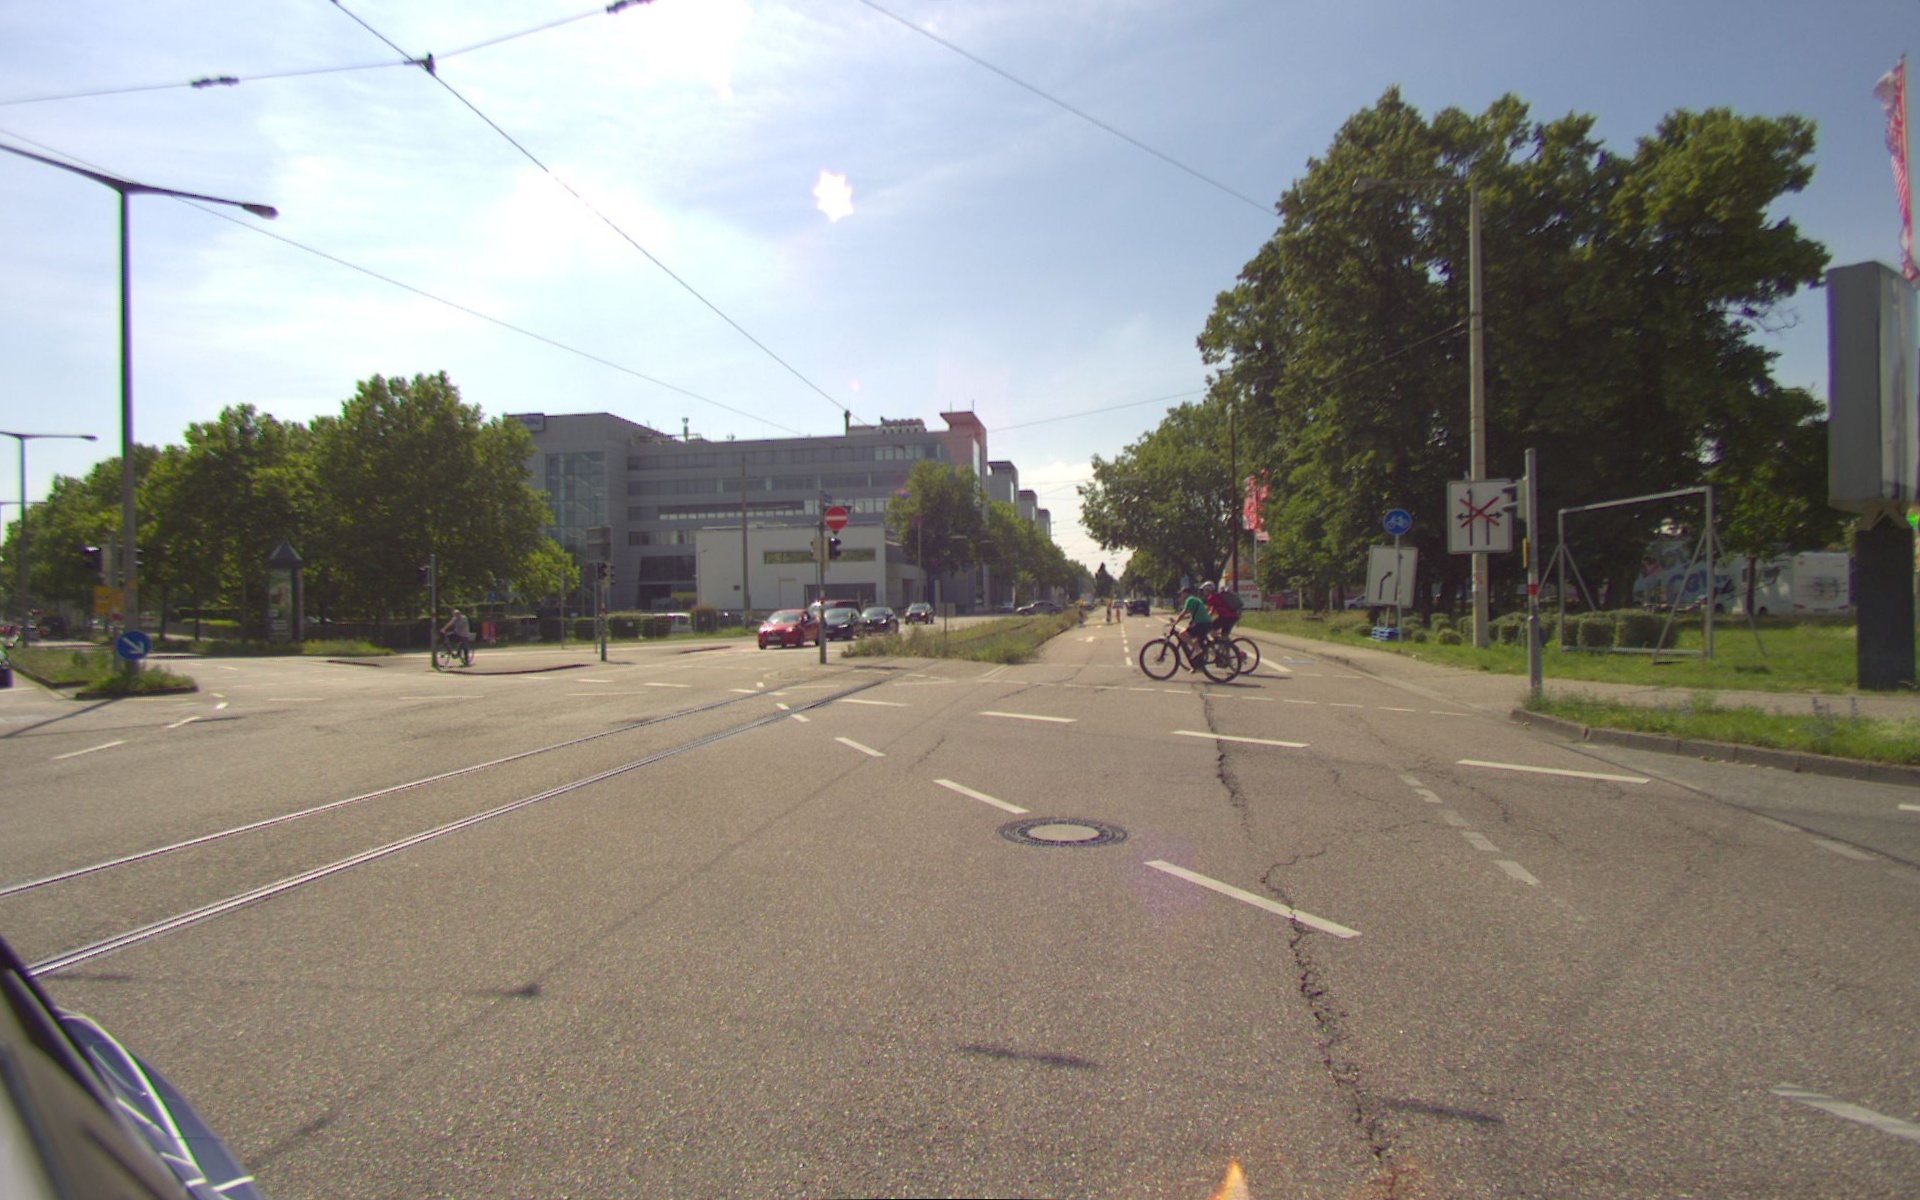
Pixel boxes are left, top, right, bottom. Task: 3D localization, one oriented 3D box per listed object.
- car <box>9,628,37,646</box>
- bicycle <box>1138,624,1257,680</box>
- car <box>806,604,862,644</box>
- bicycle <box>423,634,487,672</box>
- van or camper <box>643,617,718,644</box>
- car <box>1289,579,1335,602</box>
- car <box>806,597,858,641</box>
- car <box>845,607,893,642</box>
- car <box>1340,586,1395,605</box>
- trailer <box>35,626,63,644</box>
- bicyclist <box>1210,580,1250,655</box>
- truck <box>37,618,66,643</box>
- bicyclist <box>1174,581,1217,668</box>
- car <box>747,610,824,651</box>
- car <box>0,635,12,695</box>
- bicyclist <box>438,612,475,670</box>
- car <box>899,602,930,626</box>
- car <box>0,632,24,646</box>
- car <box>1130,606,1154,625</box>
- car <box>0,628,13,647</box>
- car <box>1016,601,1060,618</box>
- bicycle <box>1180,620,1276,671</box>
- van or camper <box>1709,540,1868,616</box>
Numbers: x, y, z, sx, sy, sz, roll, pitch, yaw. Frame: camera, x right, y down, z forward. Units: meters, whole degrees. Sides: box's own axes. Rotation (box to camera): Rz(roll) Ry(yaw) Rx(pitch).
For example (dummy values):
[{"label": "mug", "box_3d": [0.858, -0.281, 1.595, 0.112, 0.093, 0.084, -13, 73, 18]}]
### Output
[{"label": "car", "box_3d": [-83.846, 3.261, 90.549, 3.736, 1.525, 1.631, -2, 0, 44]}, {"label": "bicycle", "box_3d": [4.188, 0.910, 17.898, 1.987, 0.944, 0.413, -1, 0, 27]}, {"label": "car", "box_3d": [-5.682, 1.063, 46.146, 1.972, 1.712, 3.999, -1, 0, 1]}, {"label": "bicycle", "box_3d": [-15.993, 1.672, 32.134, 0.520, 1.072, 2.156, -2, 0, 14]}, {"label": "van or camper", "box_3d": [-18.932, 2.052, 68.698, 4.457, 1.704, 1.996, -2, 0, 6]}, {"label": "car", "box_3d": [32.510, -0.886, 93.557, 3.970, 2.029, 1.987, -2, 0, 20]}, {"label": "car", "box_3d": [-7.137, 1.034, 56.921, 2.123, 2.295, 5.038, -1, 0, 2]}, {"label": "car", "box_3d": [-4.696, 1.250, 52.816, 1.973, 1.712, 3.997, -1, 0, 2]}, {"label": "car", "box_3d": [37.534, -0.432, 93.364, 4.337, 1.576, 1.868, -2, 0, 12]}, {"label": "trailer", "box_3d": [-91.788, 3.481, 102.005, 2.037, 1.728, 3.995, -1, 0, -42]}, {"label": "bicyclist", "box_3d": [5.248, 0.341, 19.668, 0.607, 1.424, 0.523, -1, 0, 32]}, {"label": "truck", "box_3d": [-95.426, 3.211, 106.274, 2.114, 2.494, 7.137, -1, -1, -42]}, {"label": "bicyclist", "box_3d": [4.168, 0.427, 17.906, 0.606, 1.502, 0.524, -1, 0, 28]}, {"label": "car", "box_3d": [-6.737, 1.151, 39.485, 1.825, 1.460, 3.991, -1, 0, 7]}, {"label": "car", "box_3d": [-24.123, 1.570, 24.273, 4.067, 1.372, 1.708, -2, 1, 43]}, {"label": "bicyclist", "box_3d": [-15.983, 1.292, 32.133, 0.699, 1.802, 0.764, -2, 0, 14]}, {"label": "car", "box_3d": [-3.365, 1.005, 75.531, 1.973, 1.712, 3.997, -2, 0, 2]}, {"label": "car", "box_3d": [-100.723, 4.151, 107.350, 3.766, 1.445, 1.828, -2, -1, 42]}, {"label": "car", "box_3d": [15.897, 1.336, 88.330, 1.772, 1.454, 4.204, -2, 0, 14]}, {"label": "car", "box_3d": [-110.198, 4.326, 116.173, 4.001, 2.029, 1.971, -2, 0, 44]}, {"label": "car", "box_3d": [7.576, 0.920, 98.080, 4.170, 1.454, 1.786, -2, 0, 6]}, {"label": "bicycle", "box_3d": [5.202, 0.879, 19.707, 1.745, 0.944, 0.430, -1, 0, 32]}, {"label": "van or camper", "box_3d": [37.318, -0.950, 45.908, 2.681, 3.124, 6.307, -2, 0, 9]}]
